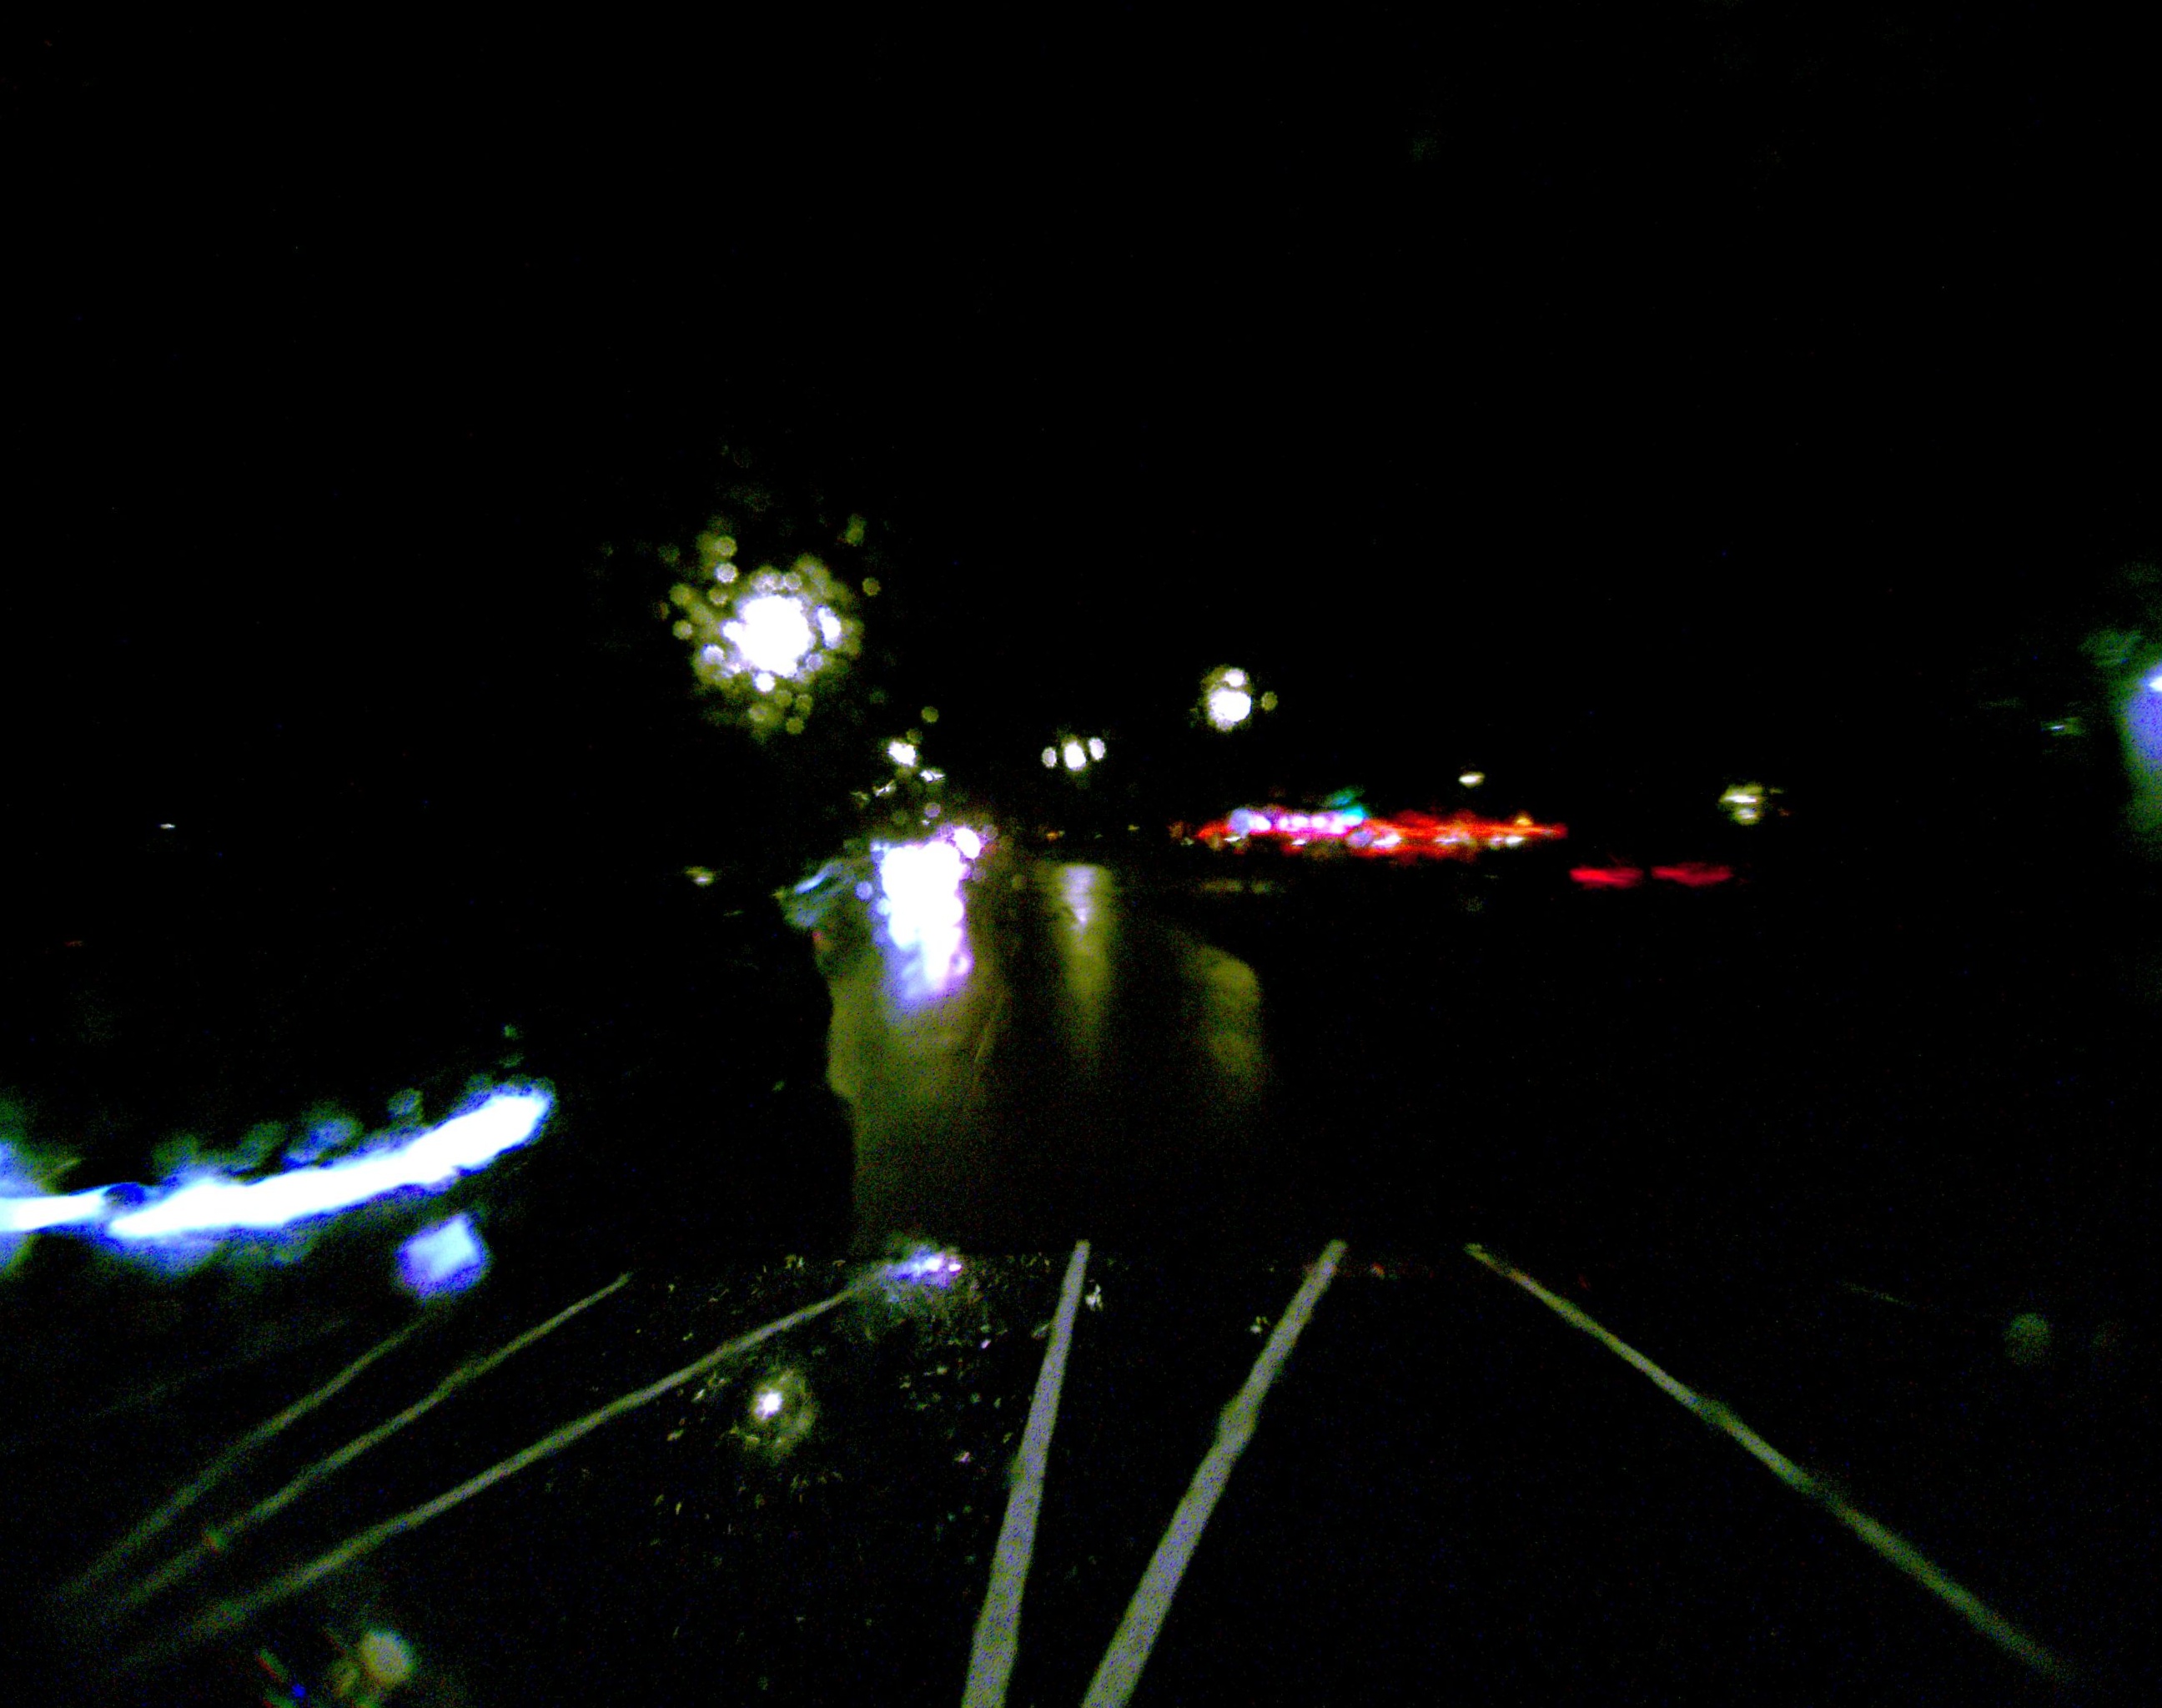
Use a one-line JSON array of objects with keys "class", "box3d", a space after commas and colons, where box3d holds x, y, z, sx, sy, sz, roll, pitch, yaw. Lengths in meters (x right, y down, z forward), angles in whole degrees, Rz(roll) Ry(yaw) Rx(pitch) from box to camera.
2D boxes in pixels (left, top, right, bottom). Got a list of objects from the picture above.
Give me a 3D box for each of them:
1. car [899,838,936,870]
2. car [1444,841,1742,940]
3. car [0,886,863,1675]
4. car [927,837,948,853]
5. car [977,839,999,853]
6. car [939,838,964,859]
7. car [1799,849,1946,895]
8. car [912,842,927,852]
[{"class": "car", "box3d": [-10.380, -0.027, 48.430, 1.938, 1.862, 3.996, -3, 2, -8]}, {"class": "car", "box3d": [8.808, 0.516, 13.711, 1.872, 1.455, 4.635, 0, 1, -6]}, {"class": "car", "box3d": [-2.571, 1.026, 3.621, 1.999, 1.515, 3.999, -2, 0, -2]}, {"class": "car", "box3d": [-17.821, -1.139, 94.234, 2.002, 1.923, 3.993, 1, 0, -19]}, {"class": "car", "box3d": [-10.957, -0.978, 89.242, 1.772, 1.449, 3.945, -4, 3, -18]}, {"class": "car", "box3d": [-12.091, -0.510, 71.139, 2.000, 1.923, 3.997, 1, 0, -6]}, {"class": "car", "box3d": [32.233, 0.712, 30.996, 4.429, 1.713, 1.799, 1, 1, -6]}, {"class": "car", "box3d": [-26.603, -1.213, 124.893, 1.834, 1.495, 4.179, -1, 2, -20]}]
